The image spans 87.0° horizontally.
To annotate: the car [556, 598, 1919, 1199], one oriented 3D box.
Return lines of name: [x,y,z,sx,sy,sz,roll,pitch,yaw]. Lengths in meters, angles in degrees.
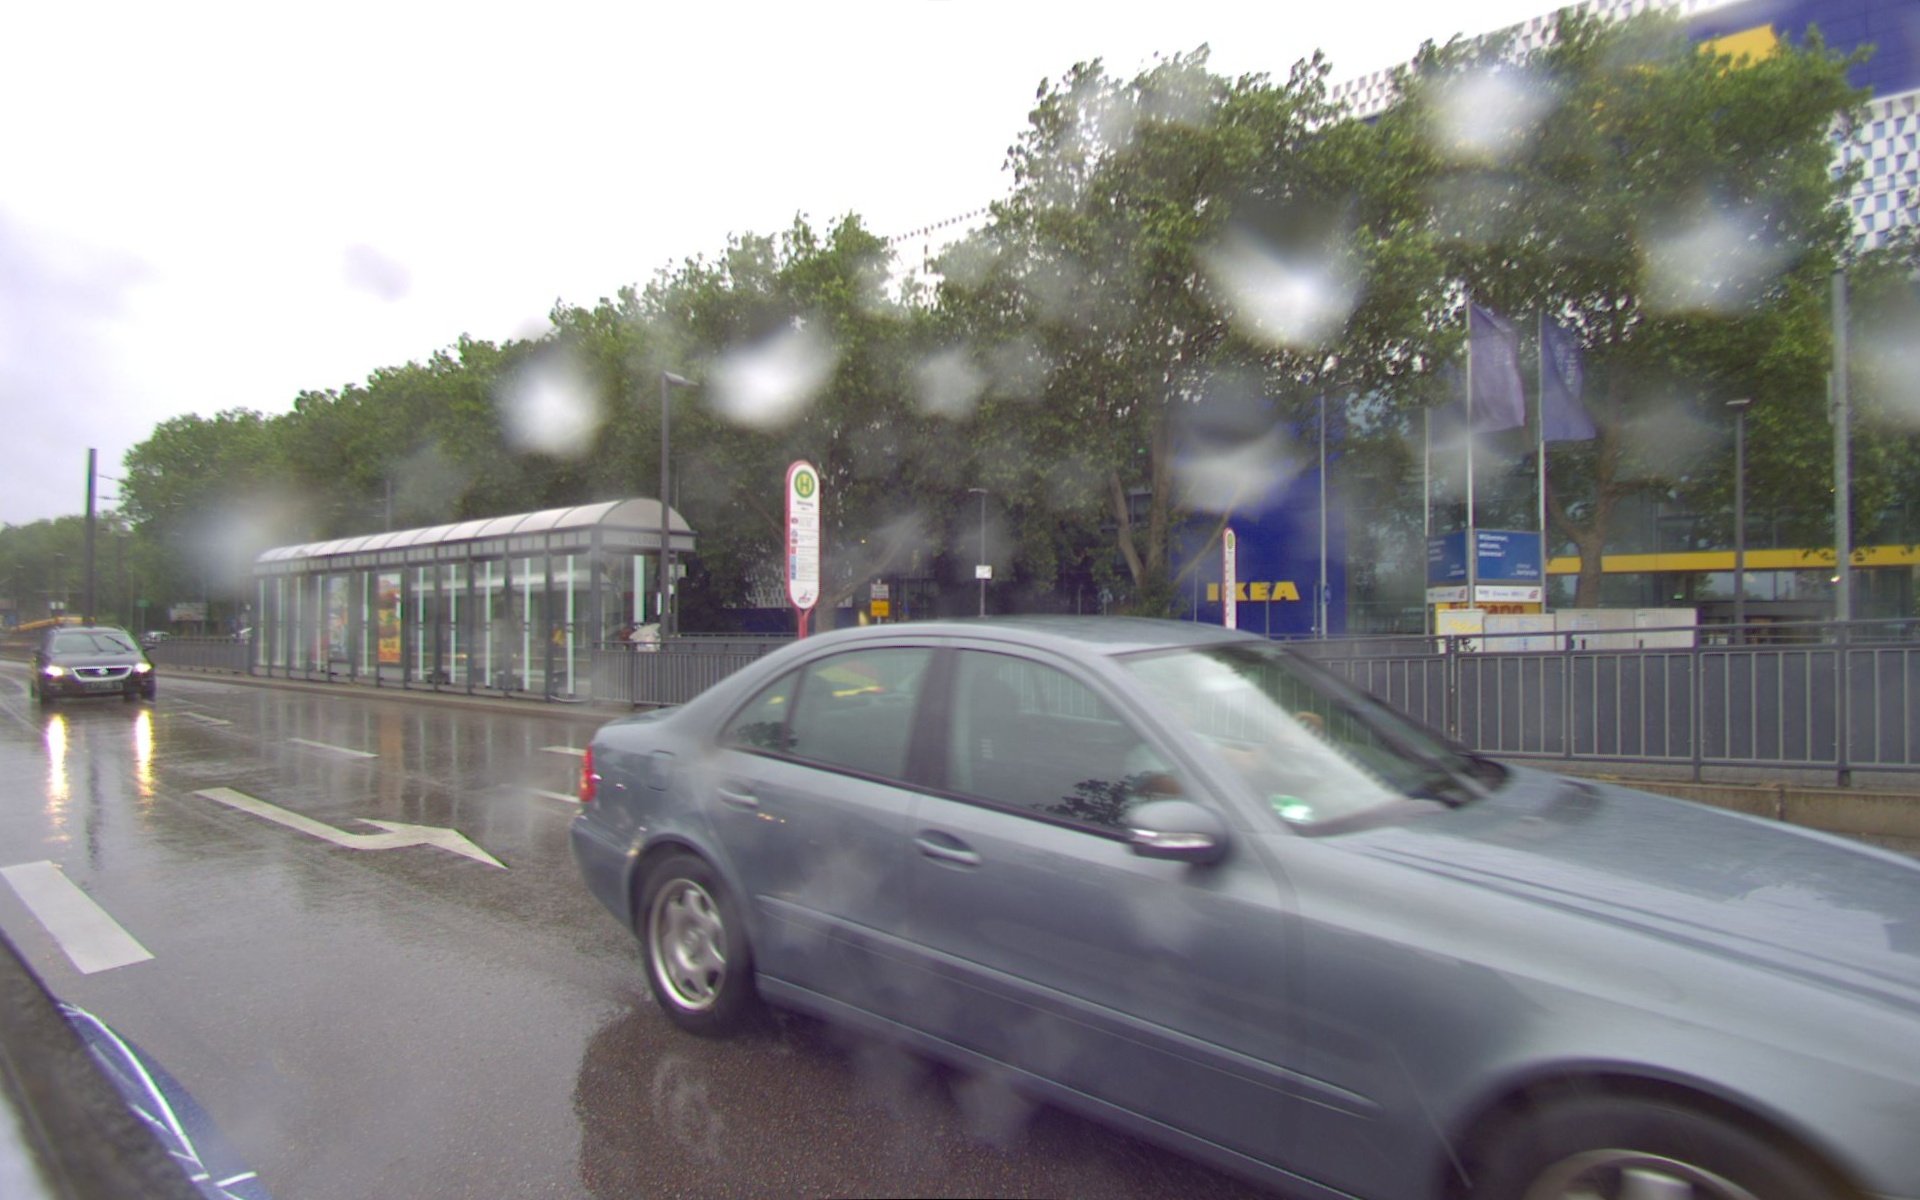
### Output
car: [0.683,0.714,3.267,4.642,1.409,1.744,0,0,41]

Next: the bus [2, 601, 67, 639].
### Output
bus: [-88.102,1.878,96.206,15.055,3.354,2.901,-1,0,41]

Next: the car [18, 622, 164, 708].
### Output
car: [-17.872,1.237,20.732,4.596,1.512,1.752,-1,0,43]

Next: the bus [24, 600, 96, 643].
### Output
bus: [-76.744,1.757,86.100,15.059,3.354,2.900,-1,0,42]
